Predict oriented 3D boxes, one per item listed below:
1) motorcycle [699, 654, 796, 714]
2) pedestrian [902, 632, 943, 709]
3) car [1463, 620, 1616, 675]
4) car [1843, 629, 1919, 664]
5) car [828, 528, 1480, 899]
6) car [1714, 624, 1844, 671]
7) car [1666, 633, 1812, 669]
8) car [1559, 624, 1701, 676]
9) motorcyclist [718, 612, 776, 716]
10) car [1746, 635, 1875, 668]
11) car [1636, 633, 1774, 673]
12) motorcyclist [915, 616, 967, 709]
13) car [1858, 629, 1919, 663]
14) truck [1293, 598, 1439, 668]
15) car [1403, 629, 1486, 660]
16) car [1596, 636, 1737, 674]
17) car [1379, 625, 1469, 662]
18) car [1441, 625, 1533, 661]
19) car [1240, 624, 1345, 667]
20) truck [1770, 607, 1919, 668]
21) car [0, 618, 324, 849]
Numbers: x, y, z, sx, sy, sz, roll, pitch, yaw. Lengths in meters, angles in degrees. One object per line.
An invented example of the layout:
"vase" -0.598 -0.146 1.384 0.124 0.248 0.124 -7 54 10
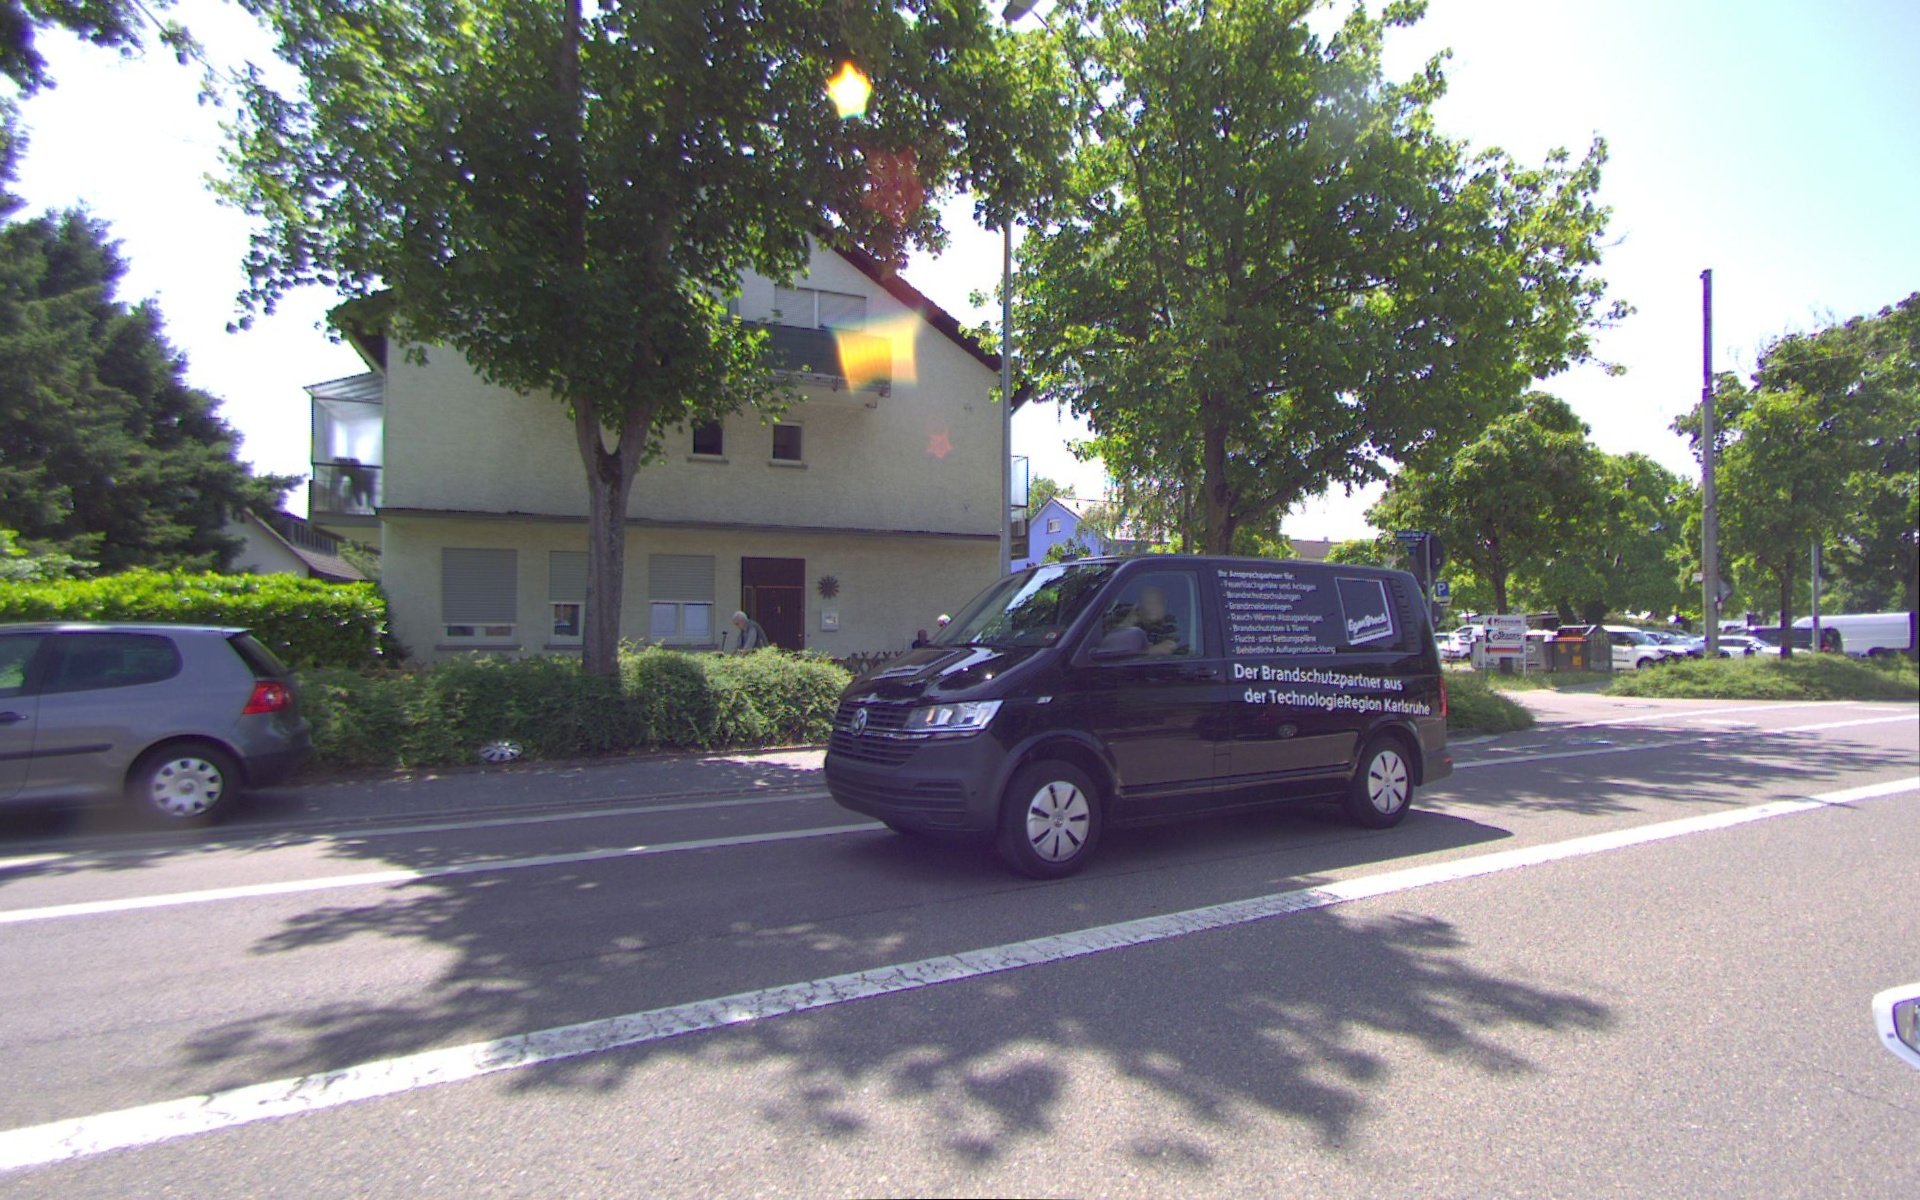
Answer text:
"motorcycle" -3.277 1.279 15.492 1.354 0.837 0.523 1 1 -30
"pedestrian" -0.780 1.425 20.592 0.599 1.530 0.792 1 -1 -23
"car" 21.055 1.694 36.647 2.040 1.881 4.421 1 -2 -34
"car" 50.366 2.468 53.829 1.836 1.789 4.188 1 -2 -31
"car" 1.501 0.665 7.249 4.519 1.935 1.909 1 -3 -31
"car" 37.029 2.103 45.519 1.836 2.021 4.188 1 -2 -31
"car" 34.417 2.222 44.537 2.035 1.508 4.737 1 -2 -31
"car" 25.501 1.871 38.376 1.652 1.860 4.250 1 -2 -28
"motorcyclist" -3.282 0.967 15.466 0.716 1.523 0.583 1 1 -29
"car" 39.234 2.347 46.419 1.836 1.429 4.188 1 -2 -31
"car" 30.180 2.120 40.843 1.908 1.528 4.106 1 -2 -28
"motorcyclist" -0.320 1.048 17.040 0.654 1.523 0.583 1 1 -29
"car" 52.637 2.499 55.130 1.776 1.837 4.694 1 -2 -31
"truck" 20.146 1.584 50.284 2.126 3.270 6.940 1 -1 -31
"car" 26.357 2.385 54.740 1.713 1.597 3.728 1 -1 -30
"car" 27.984 2.140 39.905 2.059 1.422 4.171 1 -2 -34
"car" 24.276 2.250 52.686 1.628 1.844 4.107 1 -1 -30
"car" 28.904 2.334 55.226 1.948 1.844 4.107 1 -1 -30
"car" 15.546 2.094 47.256 1.915 1.844 4.689 1 -1 -27
"truck" 43.824 1.820 49.552 2.402 2.796 5.555 1 -2 -29
"car" -7.068 0.899 7.269 4.081 1.506 1.667 1 0 -31
